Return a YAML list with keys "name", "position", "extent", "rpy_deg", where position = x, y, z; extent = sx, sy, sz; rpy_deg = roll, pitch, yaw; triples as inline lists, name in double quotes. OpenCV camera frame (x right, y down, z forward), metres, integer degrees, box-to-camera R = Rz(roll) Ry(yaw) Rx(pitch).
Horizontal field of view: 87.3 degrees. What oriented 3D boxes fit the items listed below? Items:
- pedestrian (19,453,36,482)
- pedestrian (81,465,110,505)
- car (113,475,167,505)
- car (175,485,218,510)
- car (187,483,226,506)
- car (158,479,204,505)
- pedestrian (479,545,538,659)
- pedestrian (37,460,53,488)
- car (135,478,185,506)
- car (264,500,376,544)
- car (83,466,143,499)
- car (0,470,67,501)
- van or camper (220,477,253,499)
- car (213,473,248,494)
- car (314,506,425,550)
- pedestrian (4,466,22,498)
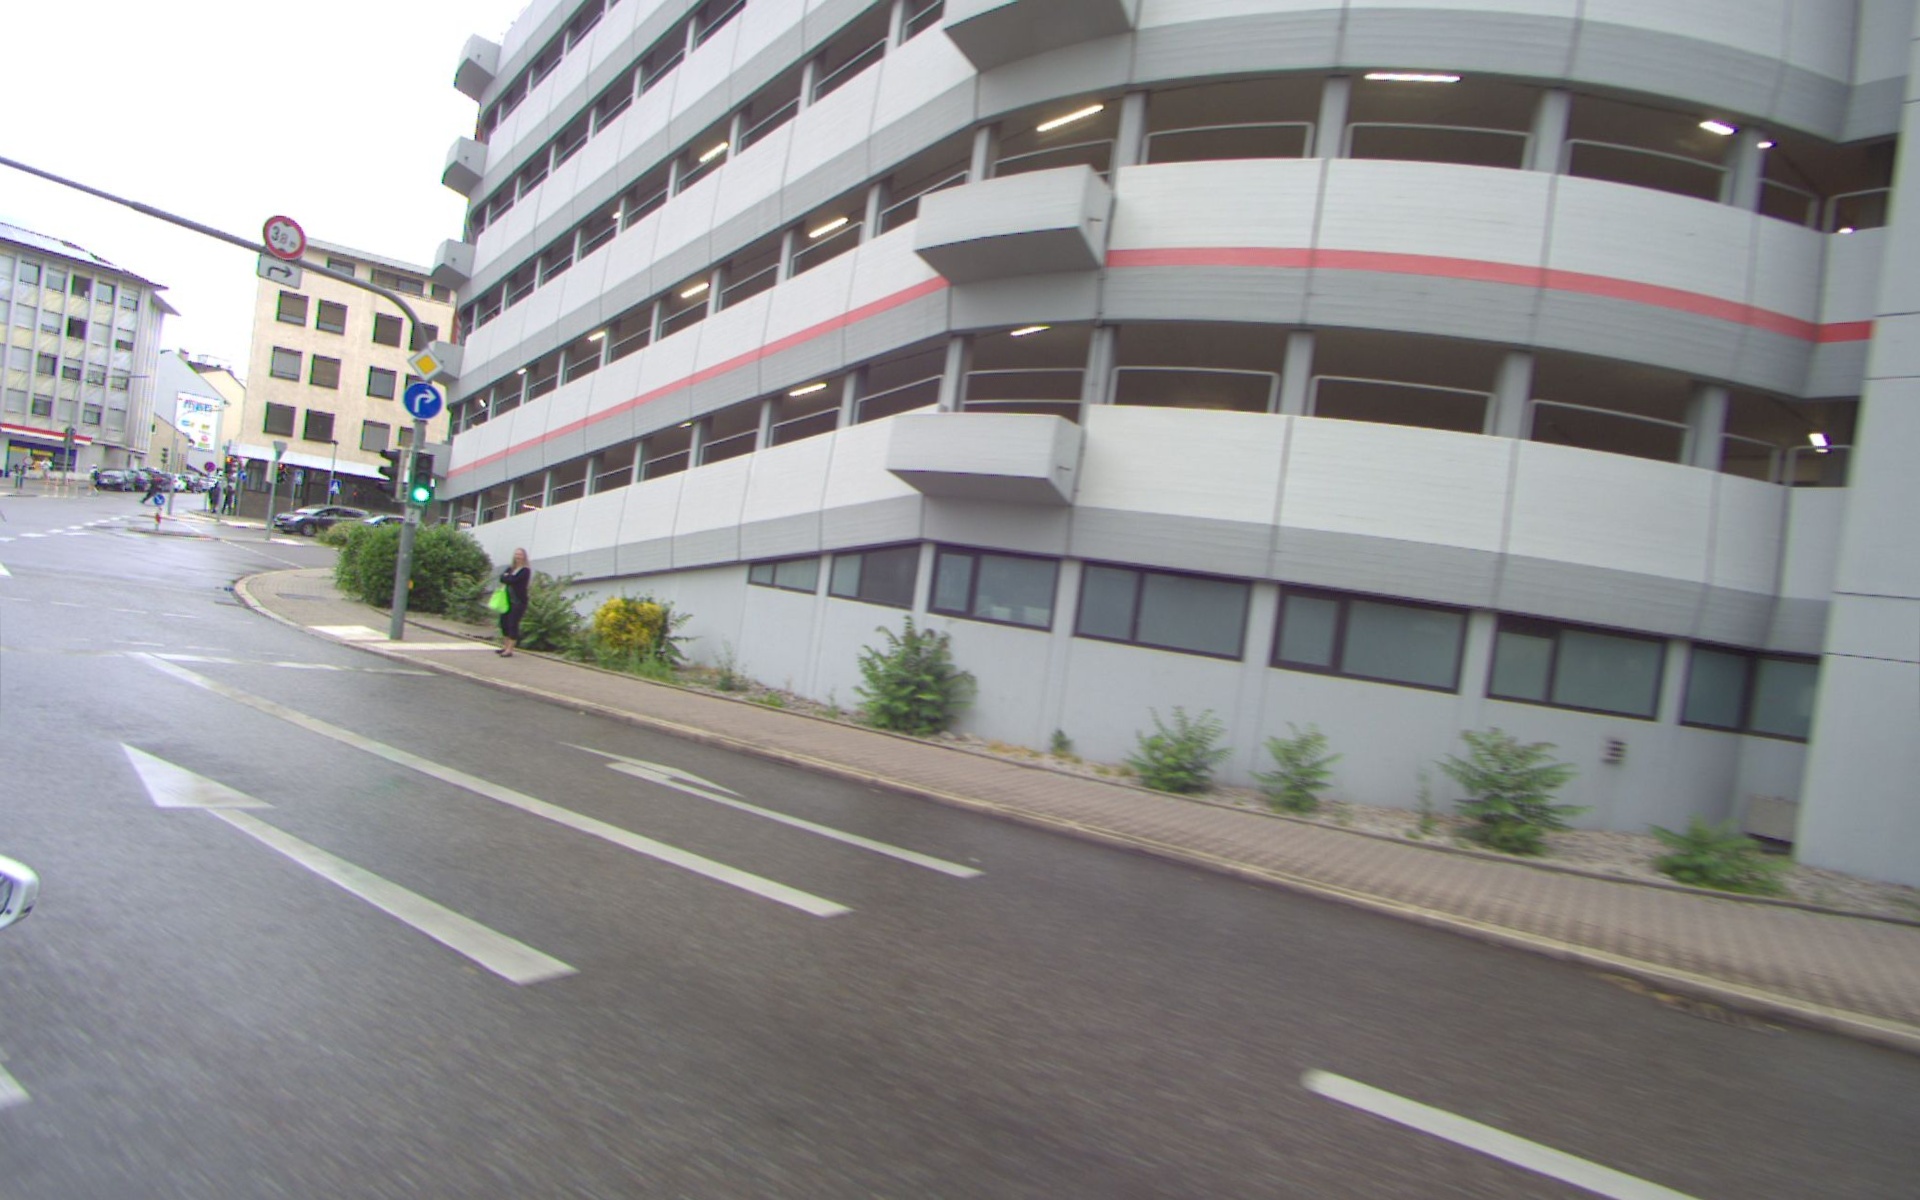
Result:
- name: "pedestrian"
  position: [-59.527, -8.453, 64.196]
  extent: [0.522, 1.749, 0.683]
  rpy_deg: [7, 1, -30]
- name: "pedestrian"
  position: [-50.019, -6.634, 58.218]
  extent: [0.931, 2.155, 0.856]
  rpy_deg: [7, 1, 27]
- name: "car"
  position: [-60.423, -8.067, 74.205]
  extent: [1.974, 1.727, 3.977]
  rpy_deg: [7, 0, -23]
- name: "car"
  position: [-67.228, -9.033, 88.666]
  extent: [1.974, 1.727, 3.977]
  rpy_deg: [7, 0, -23]
- name: "car"
  position: [-73.397, -10.278, 98.037]
  extent: [1.974, 1.727, 3.977]
  rpy_deg: [7, 0, -23]
- name: "car"
  position: [-64.912, -8.966, 83.898]
  extent: [1.974, 1.727, 3.977]
  rpy_deg: [7, 0, -23]
- name: "pedestrian"
  position: [-7.174, 0.039, 16.006]
  extent: [0.638, 1.730, 0.469]
  rpy_deg: [7, -1, -21]
- name: "pedestrian"
  position: [-58.079, -7.999, 63.867]
  extent: [0.479, 1.659, 0.436]
  rpy_deg: [8, -2, -29]
- name: "car"
  position: [-62.492, -8.417, 78.635]
  extent: [1.974, 1.727, 3.977]
  rpy_deg: [7, 0, -23]
- name: "car"
  position: [-31.151, -3.775, 49.044]
  extent: [1.831, 1.457, 4.180]
  rpy_deg: [7, 0, 39]
- name: "car"
  position: [-58.447, -8.059, 69.469]
  extent: [1.974, 1.727, 3.977]
  rpy_deg: [7, 0, -23]
- name: "car"
  position: [-66.574, -8.190, 72.355]
  extent: [1.971, 1.414, 3.987]
  rpy_deg: [8, -3, -18]
- name: "van or camper"
  position: [-82.520, -12.715, 114.737]
  extent: [1.974, 2.004, 4.487]
  rpy_deg: [6, 0, -23]
- name: "car"
  position: [-78.817, -12.576, 108.731]
  extent: [1.974, 1.735, 4.360]
  rpy_deg: [7, 0, -23]
- name: "car"
  position: [-28.506, -3.458, 48.665]
  extent: [1.831, 1.457, 4.180]
  rpy_deg: [7, 0, 39]
- name: "pedestrian"
  position: [-43.802, -5.449, 46.535]
  extent: [0.439, 1.416, 0.396]
  rpy_deg: [6, -2, 34]
